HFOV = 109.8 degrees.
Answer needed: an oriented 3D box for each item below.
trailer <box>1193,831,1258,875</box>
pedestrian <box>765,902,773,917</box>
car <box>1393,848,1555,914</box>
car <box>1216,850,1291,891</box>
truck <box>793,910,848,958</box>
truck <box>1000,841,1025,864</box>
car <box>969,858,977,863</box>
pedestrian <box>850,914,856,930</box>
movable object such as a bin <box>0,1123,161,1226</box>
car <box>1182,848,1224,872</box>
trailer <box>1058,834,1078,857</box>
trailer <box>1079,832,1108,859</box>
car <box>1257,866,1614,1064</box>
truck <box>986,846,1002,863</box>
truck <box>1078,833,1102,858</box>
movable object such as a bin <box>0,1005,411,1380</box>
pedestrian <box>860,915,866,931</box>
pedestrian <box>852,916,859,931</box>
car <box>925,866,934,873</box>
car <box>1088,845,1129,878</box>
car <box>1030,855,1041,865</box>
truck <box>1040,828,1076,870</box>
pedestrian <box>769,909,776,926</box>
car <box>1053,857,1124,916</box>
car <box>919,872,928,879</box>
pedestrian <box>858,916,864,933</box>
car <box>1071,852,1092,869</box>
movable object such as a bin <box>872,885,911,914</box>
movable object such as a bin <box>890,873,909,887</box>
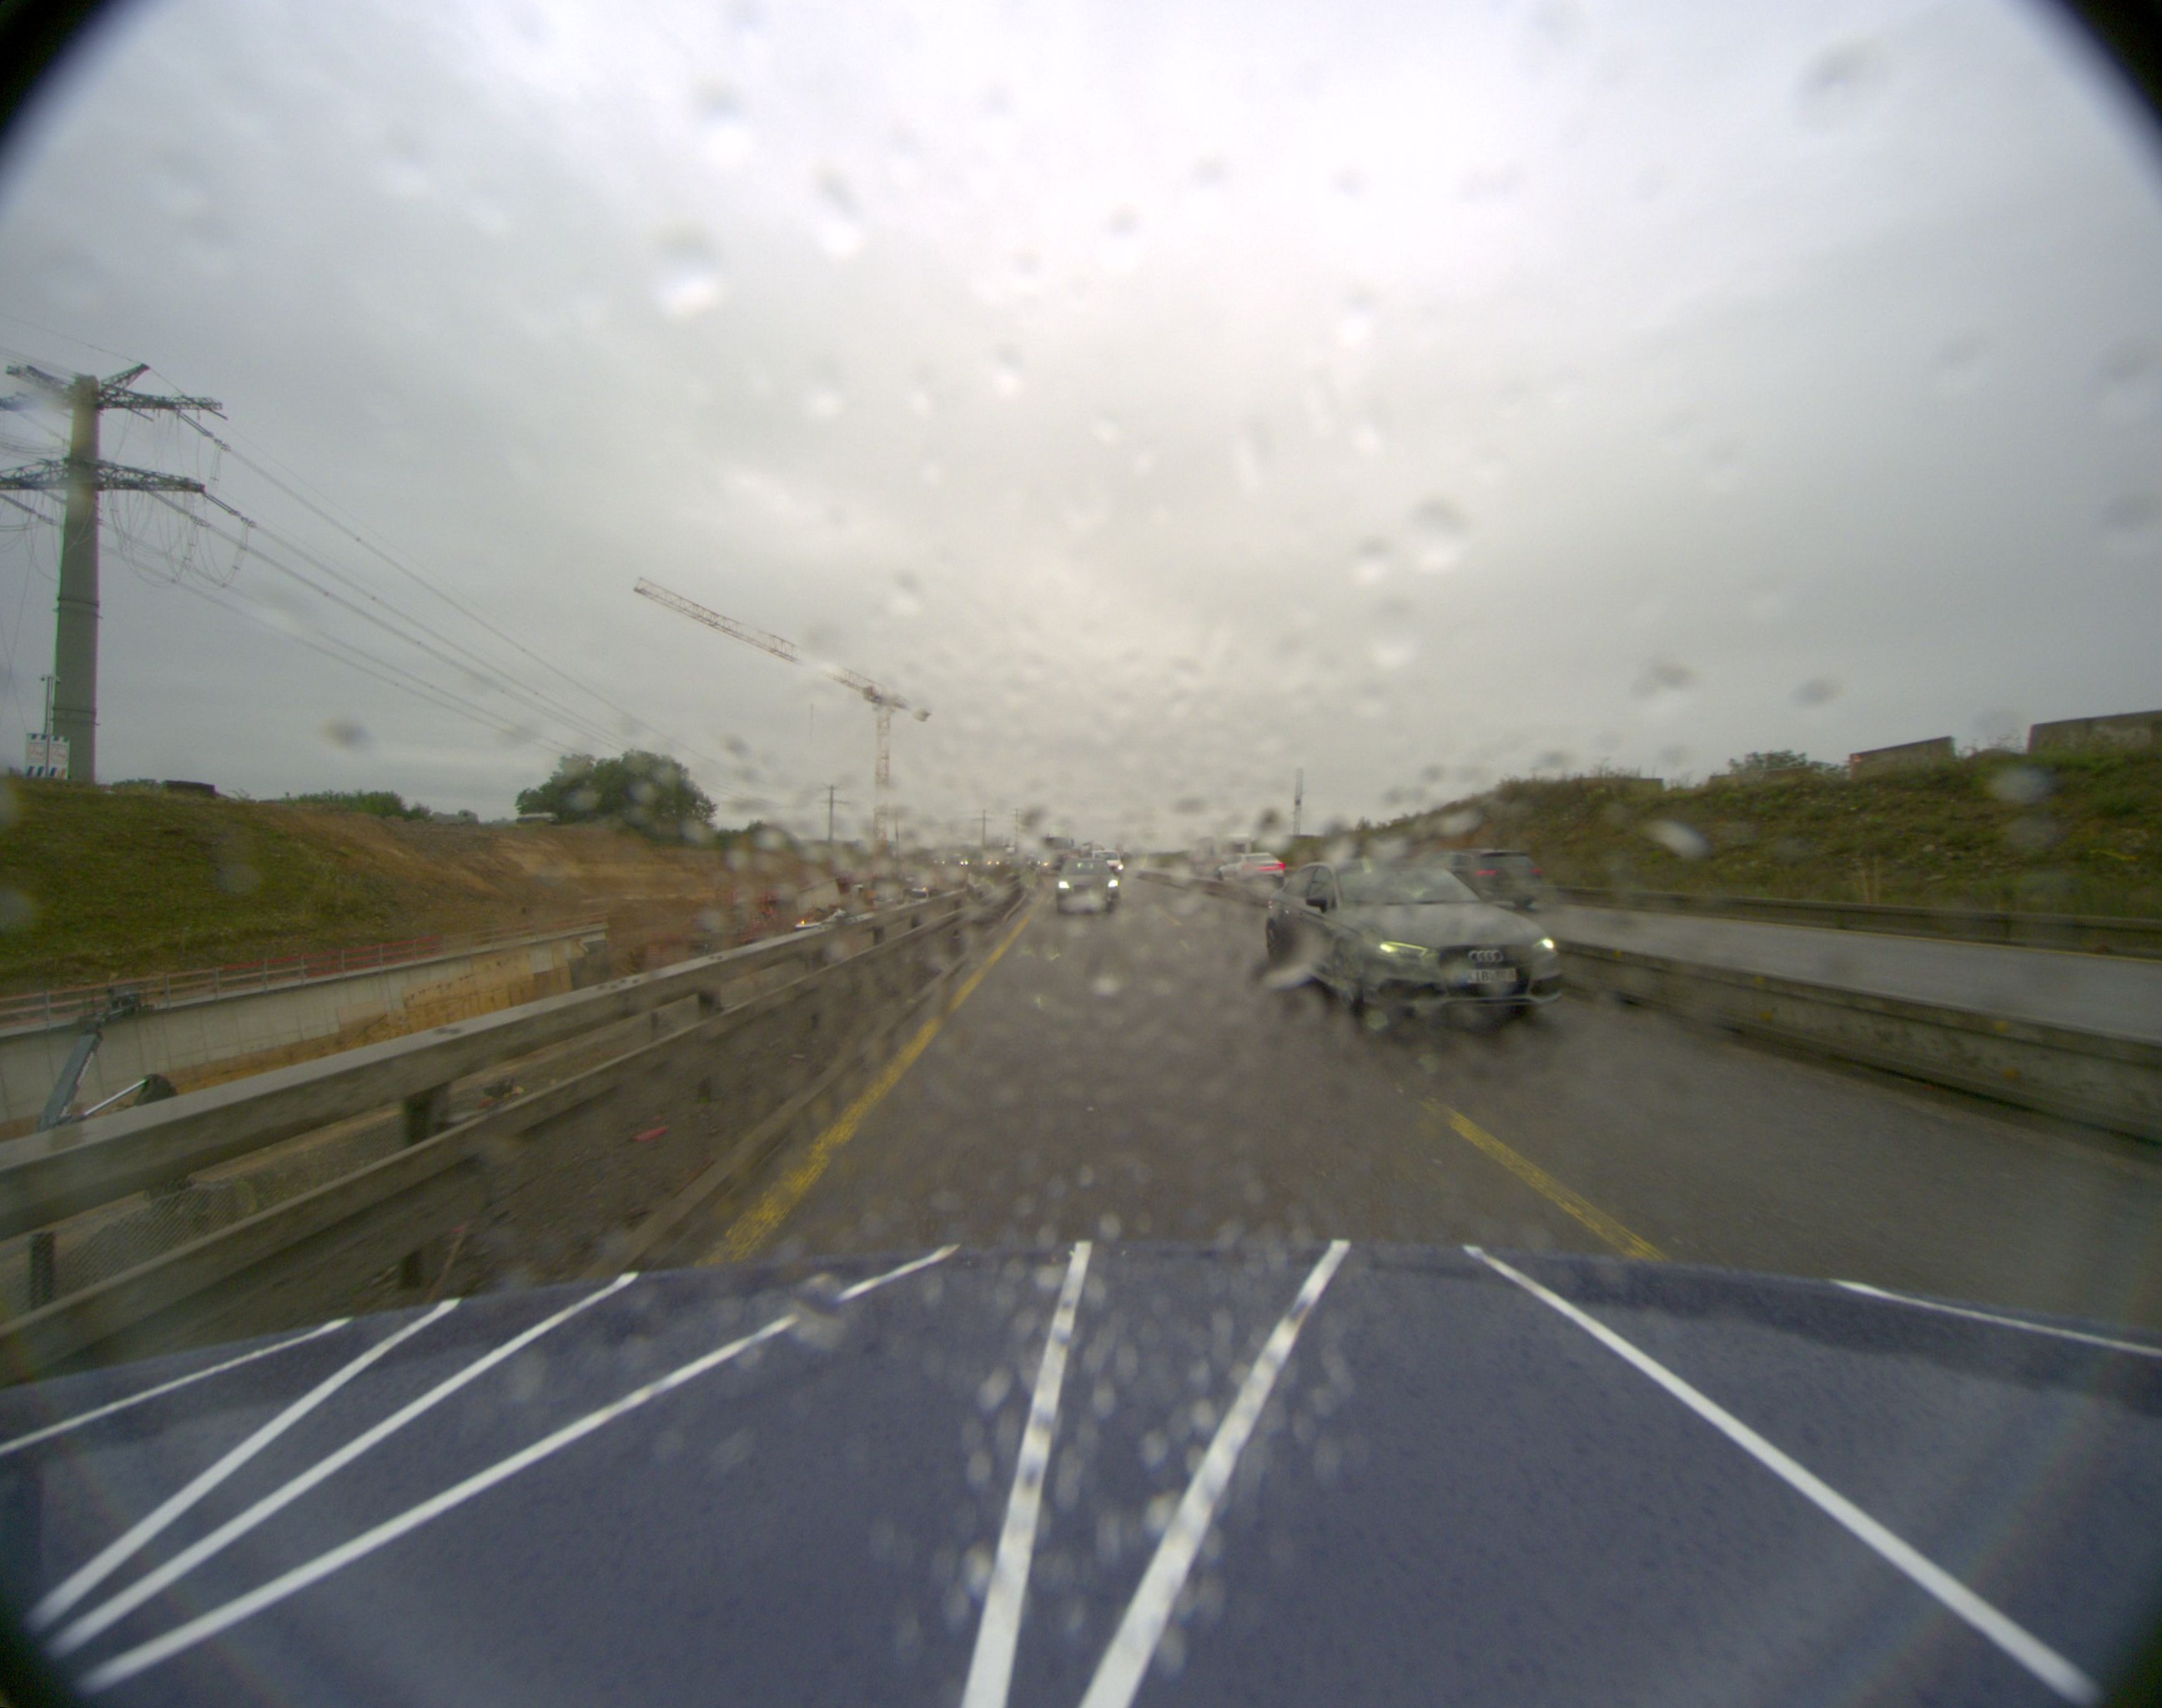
[{"bbox_3d":[9.192,-0.075,49.285,2.517,2.549,7.161,-3,0,-2],"label":"trailer"},{"bbox_3d":[-38.951,6.917,94.808,0.488,1.794,0.583,-5,2,34],"label":"pedestrian"},{"bbox_3d":[9.886,0.591,19.587,1.772,1.435,4.671,-2,0,1],"label":"car"},{"bbox_3d":[6.921,0.667,30.968,1.882,1.491,4.335,-3,-1,-2],"label":"car"},{"bbox_3d":[-25.703,7.828,75.350,2.710,3.591,9.069,0,1,-3],"label":"truck"},{"bbox_3d":[-13.827,-0.329,152.278,4.320,4.319,13.399,-3,1,-7],"label":"truck"},{"bbox_3d":[-30.764,1.890,216.450,1.791,1.418,3.996,-3,1,-12],"label":"car"},{"bbox_3d":[-27.644,8.293,92.217,0.603,1.894,0.481,1,1,-6],"label":"pedestrian"},{"bbox_3d":[-33.693,10.534,25.094,2.523,1.900,3.255,-4,1,-5],"label":"movable object such as a bin"},{"bbox_3d":[8.809,0.423,55.436,1.999,1.577,5.118,-3,0,-2],"label":"car"},{"bbox_3d":[-2.710,-1.692,153.366,3.004,4.395,15.695,0,0,-5],"label":"trailer"},{"bbox_3d":[1.829,-1.271,119.101,3.265,3.941,11.530,-2,1,-5],"label":"trailer"},{"bbox_3d":[3.242,0.898,7.969,1.805,1.375,4.087,-2,1,0],"label":"car"},{"bbox_3d":[-21.827,0.060,190.910,3.547,3.871,8.330,-3,1,-7],"label":"truck"},{"bbox_3d":[1.414,-1.348,123.955,3.240,3.933,5.878,-2,1,-4],"label":"truck"},{"bbox_3d":[-25.776,8.422,20.007,4.906,5.640,12.084,-4,3,1],"label":"movable object such as a bin"},{"bbox_3d":[-26.381,8.384,91.890,0.603,1.894,0.481,0,1,-6],"label":"pedestrian"},{"bbox_3d":[-26.725,8.234,90.100,0.603,1.759,0.481,2,1,-6],"label":"pedestrian"},{"bbox_3d":[-43.722,4.467,219.700,2.352,1.609,4.855,-1,1,-8],"label":"car"},{"bbox_3d":[1.686,0.430,48.557,2.070,1.934,5.154,-2,1,-3],"label":"car"},{"bbox_3d":[-8.724,1.110,145.025,1.790,1.646,3.997,-3,1,-9],"label":"car"},{"bbox_3d":[-2.161,-0.465,68.075,2.857,3.462,8.640,-2,1,-4],"label":"truck"},{"bbox_3d":[-39.136,8.023,96.454,0.489,2.088,0.481,-7,2,-6],"label":"pedestrian"},{"bbox_3d":[0.137,0.886,22.561,1.874,1.481,4.260,-2,0,-2],"label":"car"},{"bbox_3d":[-39.641,5.365,191.363,1.861,1.609,4.077,-1,1,-8],"label":"car"},{"bbox_3d":[-26.422,8.468,91.178,0.603,1.894,0.614,0,1,-6],"label":"pedestrian"},{"bbox_3d":[0.048,0.672,85.298,1.790,1.744,3.997,-3,1,-7],"label":"car"},{"bbox_3d":[-27.240,6.500,109.481,3.516,3.405,6.652,-2,2,3],"label":"movable object such as a bin"},{"bbox_3d":[-40.953,5.842,171.653,3.503,2.865,3.997,4,0,-7],"label":"movable object such as a bin"}]
